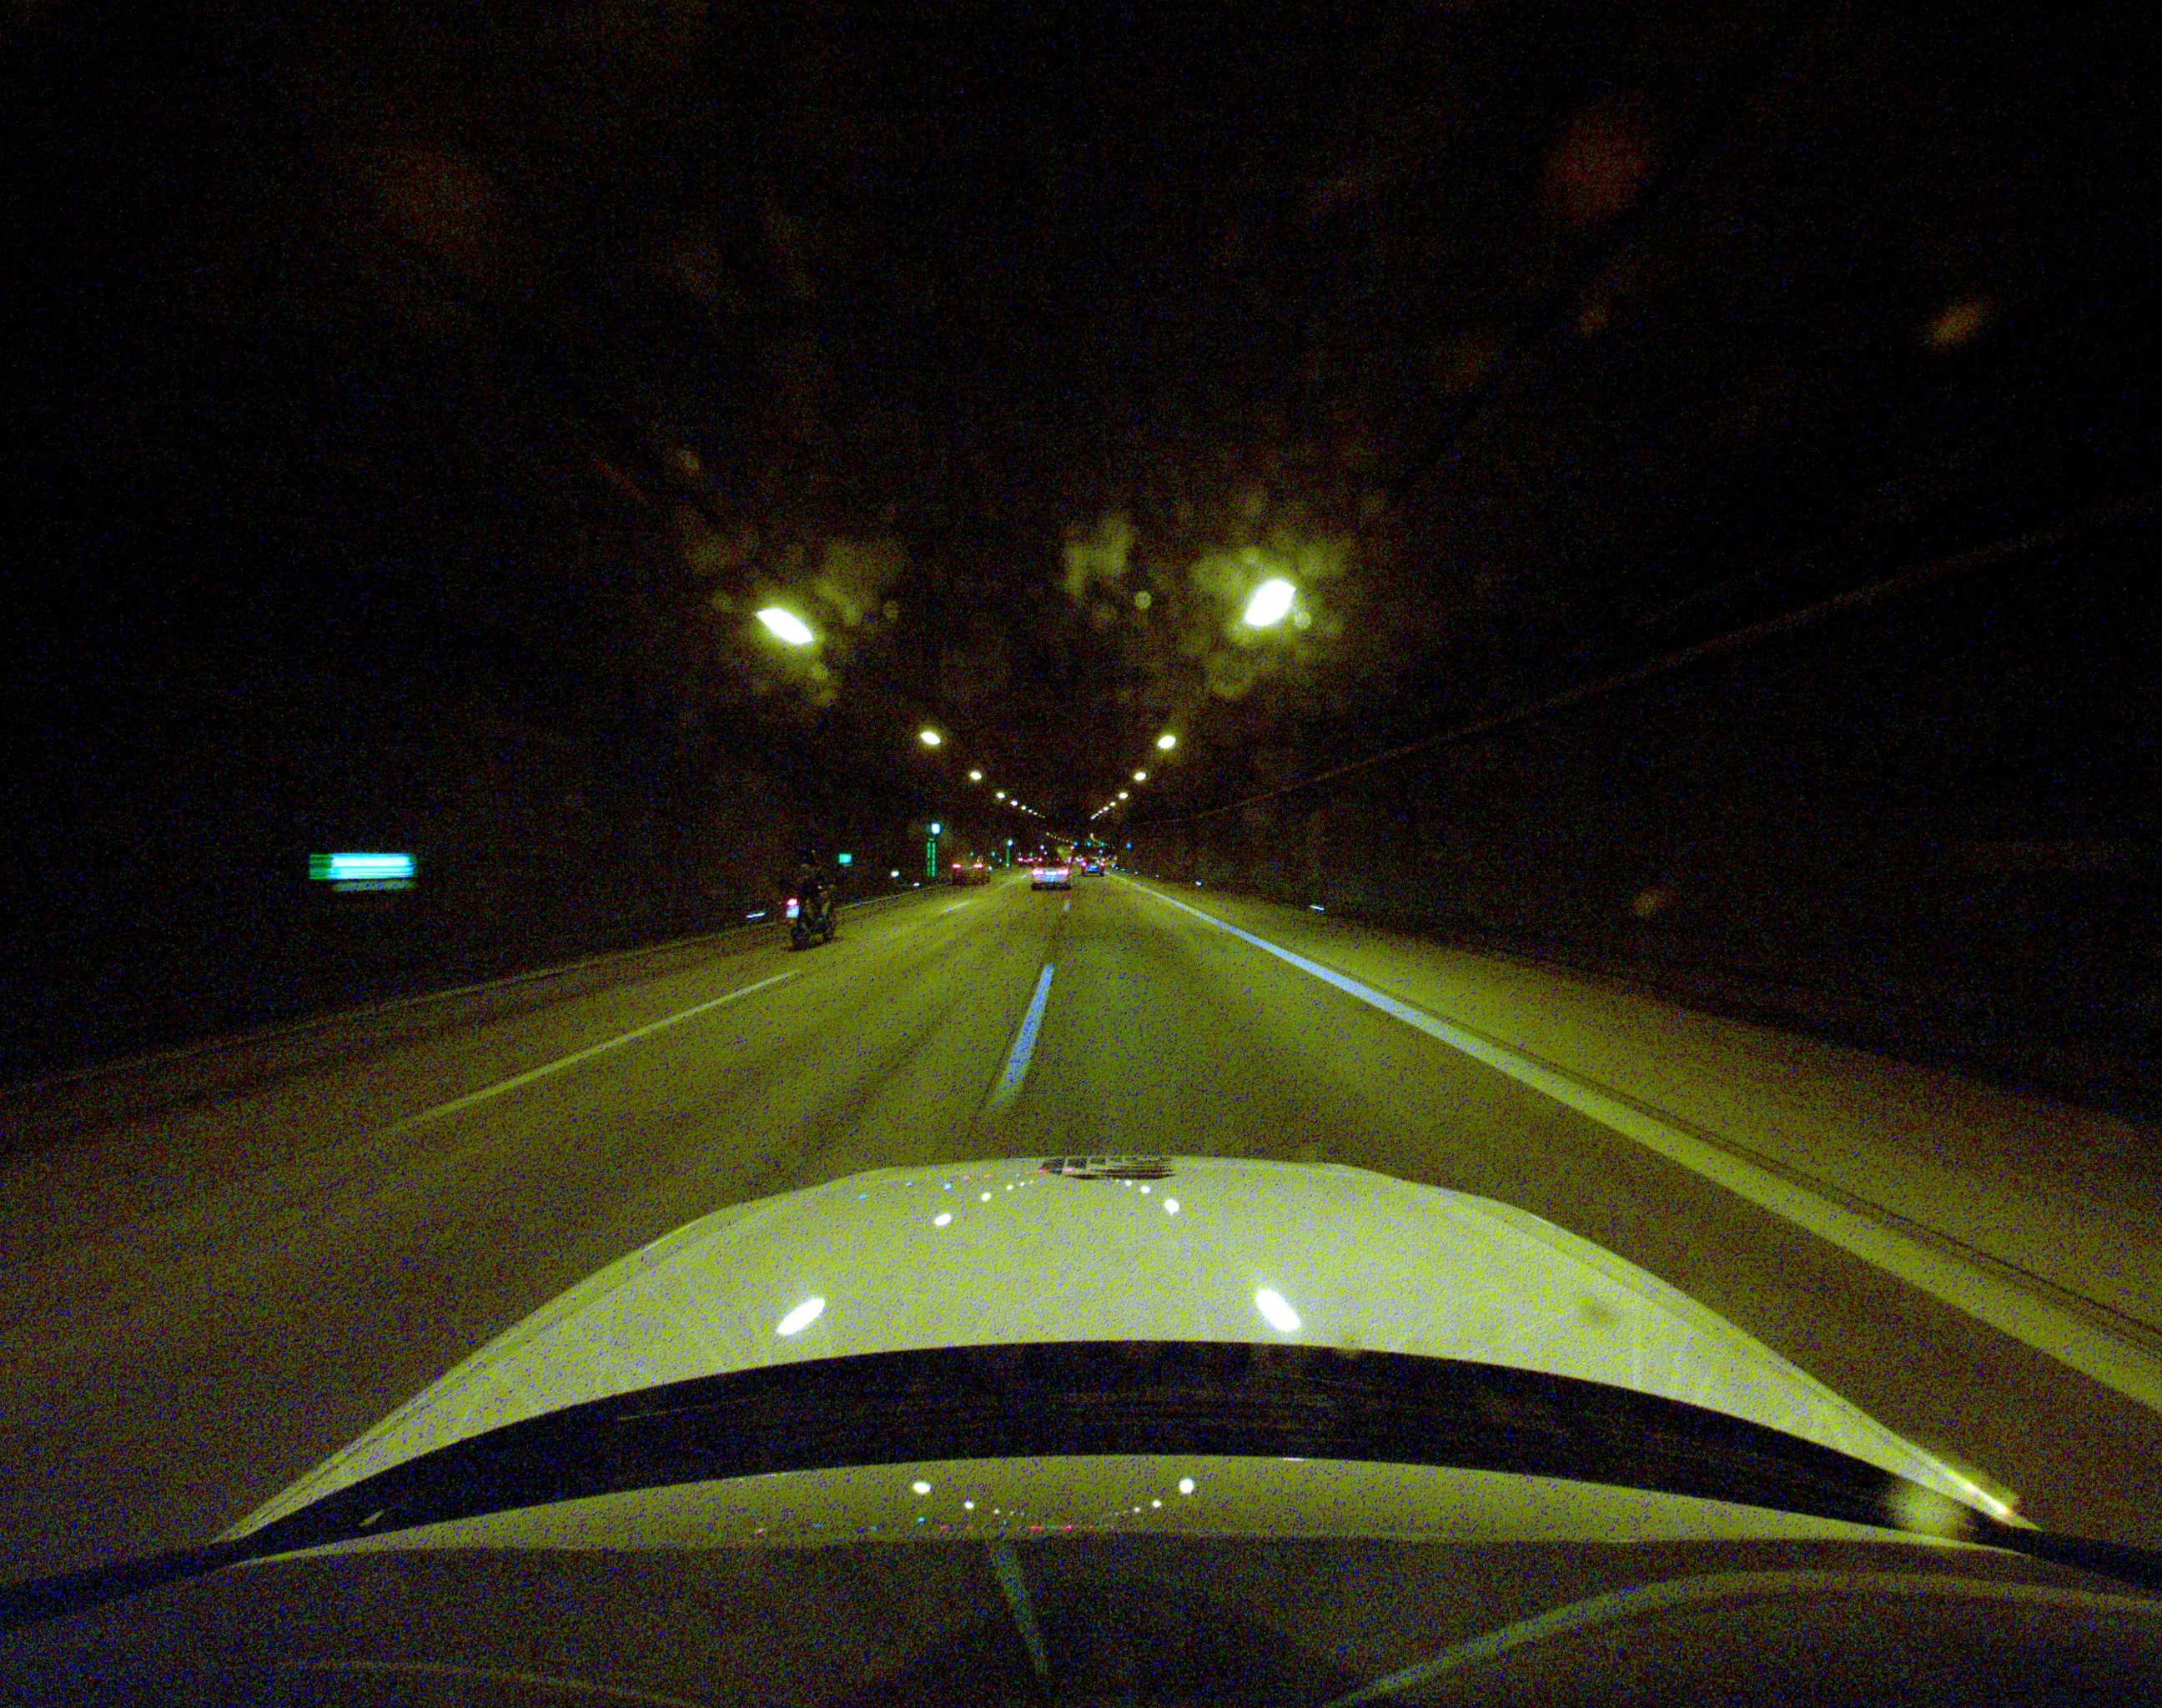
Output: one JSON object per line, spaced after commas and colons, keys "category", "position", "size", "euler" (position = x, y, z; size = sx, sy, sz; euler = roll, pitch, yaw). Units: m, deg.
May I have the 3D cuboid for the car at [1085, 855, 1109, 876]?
{"category": "car", "position": [1.252, 0.893, 65.120], "size": [1.833, 1.602, 4.001], "euler": [-1, -1, 1]}

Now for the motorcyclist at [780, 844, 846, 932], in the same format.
{"category": "motorcyclist", "position": [-4.698, 0.582, 14.338], "size": [0.835, 1.477, 0.822], "euler": [-1, 0, 3]}

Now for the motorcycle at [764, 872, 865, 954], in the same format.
{"category": "motorcycle", "position": [-4.670, 0.987, 14.503], "size": [0.842, 1.245, 2.605], "euler": [-1, 0, 2]}

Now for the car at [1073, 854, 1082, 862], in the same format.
{"category": "car", "position": [-0.802, 0.940, 188.332], "size": [1.986, 1.754, 4.002], "euler": [0, -1, 2]}

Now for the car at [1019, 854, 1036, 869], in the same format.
{"category": "car", "position": [-6.364, 0.933, 97.587], "size": [1.796, 1.684, 3.997], "euler": [-1, -1, -2]}

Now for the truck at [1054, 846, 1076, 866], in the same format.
{"category": "truck", "position": [-2.511, 0.272, 131.414], "size": [3.071, 3.113, 10.033], "euler": [0, 0, 2]}

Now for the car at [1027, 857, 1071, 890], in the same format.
{"category": "car", "position": [-1.464, 0.897, 38.803], "size": [1.988, 1.483, 3.998], "euler": [-1, 0, -1]}

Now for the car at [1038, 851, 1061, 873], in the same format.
{"category": "car", "position": [-3.007, 0.767, 77.884], "size": [1.987, 1.972, 3.998], "euler": [-1, -1, -1]}

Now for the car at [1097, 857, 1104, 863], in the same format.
{"category": "car", "position": [5.081, 1.692, 214.343], "size": [1.838, 1.551, 4.000], "euler": [1, 0, 0]}

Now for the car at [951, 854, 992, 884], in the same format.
{"category": "car", "position": [-6.104, 0.804, 45.710], "size": [1.780, 1.598, 3.799], "euler": [-1, 0, -1]}
